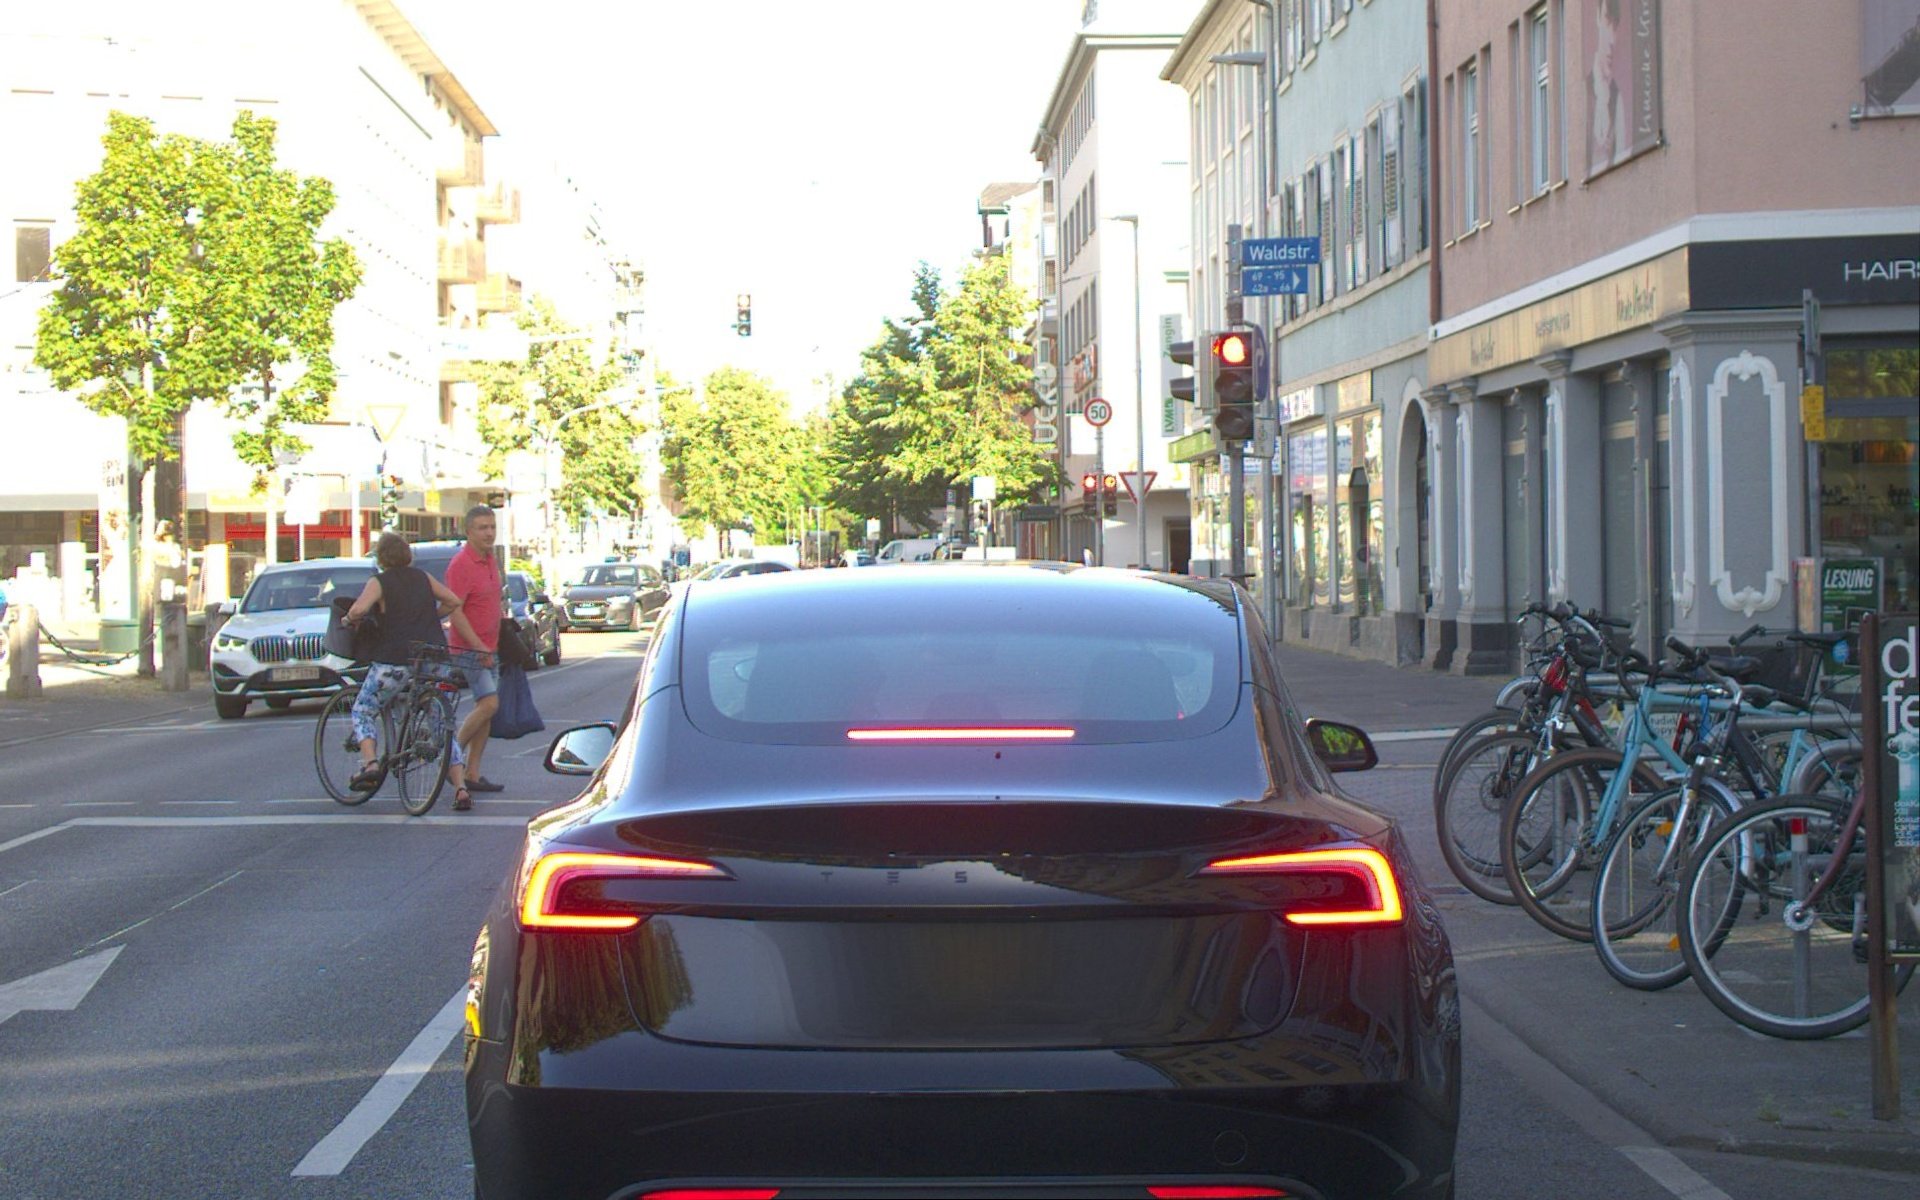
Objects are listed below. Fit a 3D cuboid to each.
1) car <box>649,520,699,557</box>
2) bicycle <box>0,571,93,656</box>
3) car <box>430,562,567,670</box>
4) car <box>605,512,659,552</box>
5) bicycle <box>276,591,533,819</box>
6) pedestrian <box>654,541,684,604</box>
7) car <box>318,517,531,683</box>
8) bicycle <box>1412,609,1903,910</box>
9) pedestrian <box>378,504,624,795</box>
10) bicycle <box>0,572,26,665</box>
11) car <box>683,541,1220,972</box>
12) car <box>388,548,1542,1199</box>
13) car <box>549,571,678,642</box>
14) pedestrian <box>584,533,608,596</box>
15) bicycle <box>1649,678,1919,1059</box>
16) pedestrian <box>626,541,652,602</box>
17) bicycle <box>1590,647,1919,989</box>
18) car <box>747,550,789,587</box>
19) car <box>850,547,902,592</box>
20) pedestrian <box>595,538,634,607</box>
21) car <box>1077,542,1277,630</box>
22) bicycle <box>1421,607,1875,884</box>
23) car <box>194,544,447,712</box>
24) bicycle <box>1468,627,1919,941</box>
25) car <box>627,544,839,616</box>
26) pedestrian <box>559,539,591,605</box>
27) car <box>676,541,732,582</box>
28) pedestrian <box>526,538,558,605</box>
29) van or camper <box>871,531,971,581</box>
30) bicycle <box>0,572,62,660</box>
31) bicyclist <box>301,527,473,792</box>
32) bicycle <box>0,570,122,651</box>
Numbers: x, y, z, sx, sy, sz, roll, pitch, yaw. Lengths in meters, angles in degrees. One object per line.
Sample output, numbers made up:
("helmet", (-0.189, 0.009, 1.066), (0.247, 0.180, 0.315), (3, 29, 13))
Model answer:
("car", (-15.648, -3.355, 188.284), (2.275, 2.007, 4.717), (1, 1, 1))
("bicycle", (-14.530, 0.191, 52.144), (2.542, 1.247, 0.943), (1, 0, -3))
("car", (-6.650, 0.205, 49.800), (1.461, 1.425, 3.606), (-4, 1, -1))
("car", (-17.124, -3.536, 179.645), (2.275, 2.007, 4.717), (1, 1, 1))
("bicycle", (-3.185, 0.565, 19.567), (0.628, 1.219, 2.000), (-1, 1, -35))
("pedestrian", (-8.632, -0.816, 101.870), (0.774, 1.861, 1.009), (1, 0, -10))
("car", (-6.569, -0.036, 42.667), (1.945, 1.940, 4.820), (0, 1, -1))
("bicycle", (2.736, 0.618, 13.606), (1.813, 1.148, 0.653), (0, 1, 1))
("pedestrian", (-2.801, 0.284, 21.053), (1.111, 1.714, 1.060), (1, 0, 20))
("bicycle", (-14.483, 0.236, 47.550), (2.875, 1.266, 0.943), (1, 0, -3))
("car", (-0.055, 0.522, 14.202), (1.850, 1.476, 4.452), (1, 1, -1))
("car", (-0.019, 0.626, 7.777), (1.850, 1.442, 4.452), (1, 1, -1))
("car", (-7.067, 0.111, 70.453), (1.694, 1.385, 3.915), (1, 1, 8))
("pedestrian", (-10.994, -1.074, 103.882), (0.695, 1.861, 0.659), (1, 0, -5))
("bicycle", (3.031, 0.757, 10.054), (1.882, 1.040, 0.653), (-1, 1, 1))
("pedestrian", (-9.861, -0.871, 105.623), (0.694, 1.861, 0.910), (1, 0, -12))
("bicycle", (3.005, 0.690, 11.126), (1.813, 1.056, 0.653), (0, 1, 1))
("car", (-10.441, -1.741, 187.137), (2.132, 1.963, 4.134), (0, 1, -1))
("car", (-3.362, -1.245, 138.502), (2.035, 1.782, 4.006), (0, 1, -1))
("pedestrian", (-9.501, -0.754, 94.527), (0.734, 1.861, 0.789), (1, 0, 28))
("car", (4.712, -0.326, 74.679), (3.992, 1.861, 1.698), (0, 1, -21))
("bicycle", (2.927, 0.610, 14.740), (1.813, 1.148, 0.653), (0, 1, 1))
("car", (-6.683, 0.254, 36.344), (1.825, 1.559, 4.301), (-4, 1, -1))
("bicycle", (2.805, 0.654, 12.532), (1.813, 1.098, 0.653), (0, 1, 1))
("car", (-5.450, -0.480, 82.628), (4.697, 1.425, 1.736), (-4, 1, -24))
("pedestrian", (-10.886, -0.801, 97.242), (0.732, 1.861, 0.791), (1, 0, -17))
("car", (-12.393, -1.870, 166.455), (2.414, 1.963, 4.678), (0, 1, -1))
("pedestrian", (-11.774, -0.809, 96.872), (0.732, 1.861, 0.791), (1, 0, -17))
("van or camper", (-1.899, -2.135, 167.552), (4.850, 2.430, 1.851), (0, 1, -1))
("bicycle", (-14.485, 0.218, 49.868), (2.662, 1.255, 0.943), (1, 0, -3))
("bicyclist", (-3.292, 0.325, 19.718), (0.606, 1.479, 0.958), (1, 1, -35))
("bicycle", (-14.691, 0.164, 54.568), (2.542, 1.247, 0.943), (1, 0, -3))
